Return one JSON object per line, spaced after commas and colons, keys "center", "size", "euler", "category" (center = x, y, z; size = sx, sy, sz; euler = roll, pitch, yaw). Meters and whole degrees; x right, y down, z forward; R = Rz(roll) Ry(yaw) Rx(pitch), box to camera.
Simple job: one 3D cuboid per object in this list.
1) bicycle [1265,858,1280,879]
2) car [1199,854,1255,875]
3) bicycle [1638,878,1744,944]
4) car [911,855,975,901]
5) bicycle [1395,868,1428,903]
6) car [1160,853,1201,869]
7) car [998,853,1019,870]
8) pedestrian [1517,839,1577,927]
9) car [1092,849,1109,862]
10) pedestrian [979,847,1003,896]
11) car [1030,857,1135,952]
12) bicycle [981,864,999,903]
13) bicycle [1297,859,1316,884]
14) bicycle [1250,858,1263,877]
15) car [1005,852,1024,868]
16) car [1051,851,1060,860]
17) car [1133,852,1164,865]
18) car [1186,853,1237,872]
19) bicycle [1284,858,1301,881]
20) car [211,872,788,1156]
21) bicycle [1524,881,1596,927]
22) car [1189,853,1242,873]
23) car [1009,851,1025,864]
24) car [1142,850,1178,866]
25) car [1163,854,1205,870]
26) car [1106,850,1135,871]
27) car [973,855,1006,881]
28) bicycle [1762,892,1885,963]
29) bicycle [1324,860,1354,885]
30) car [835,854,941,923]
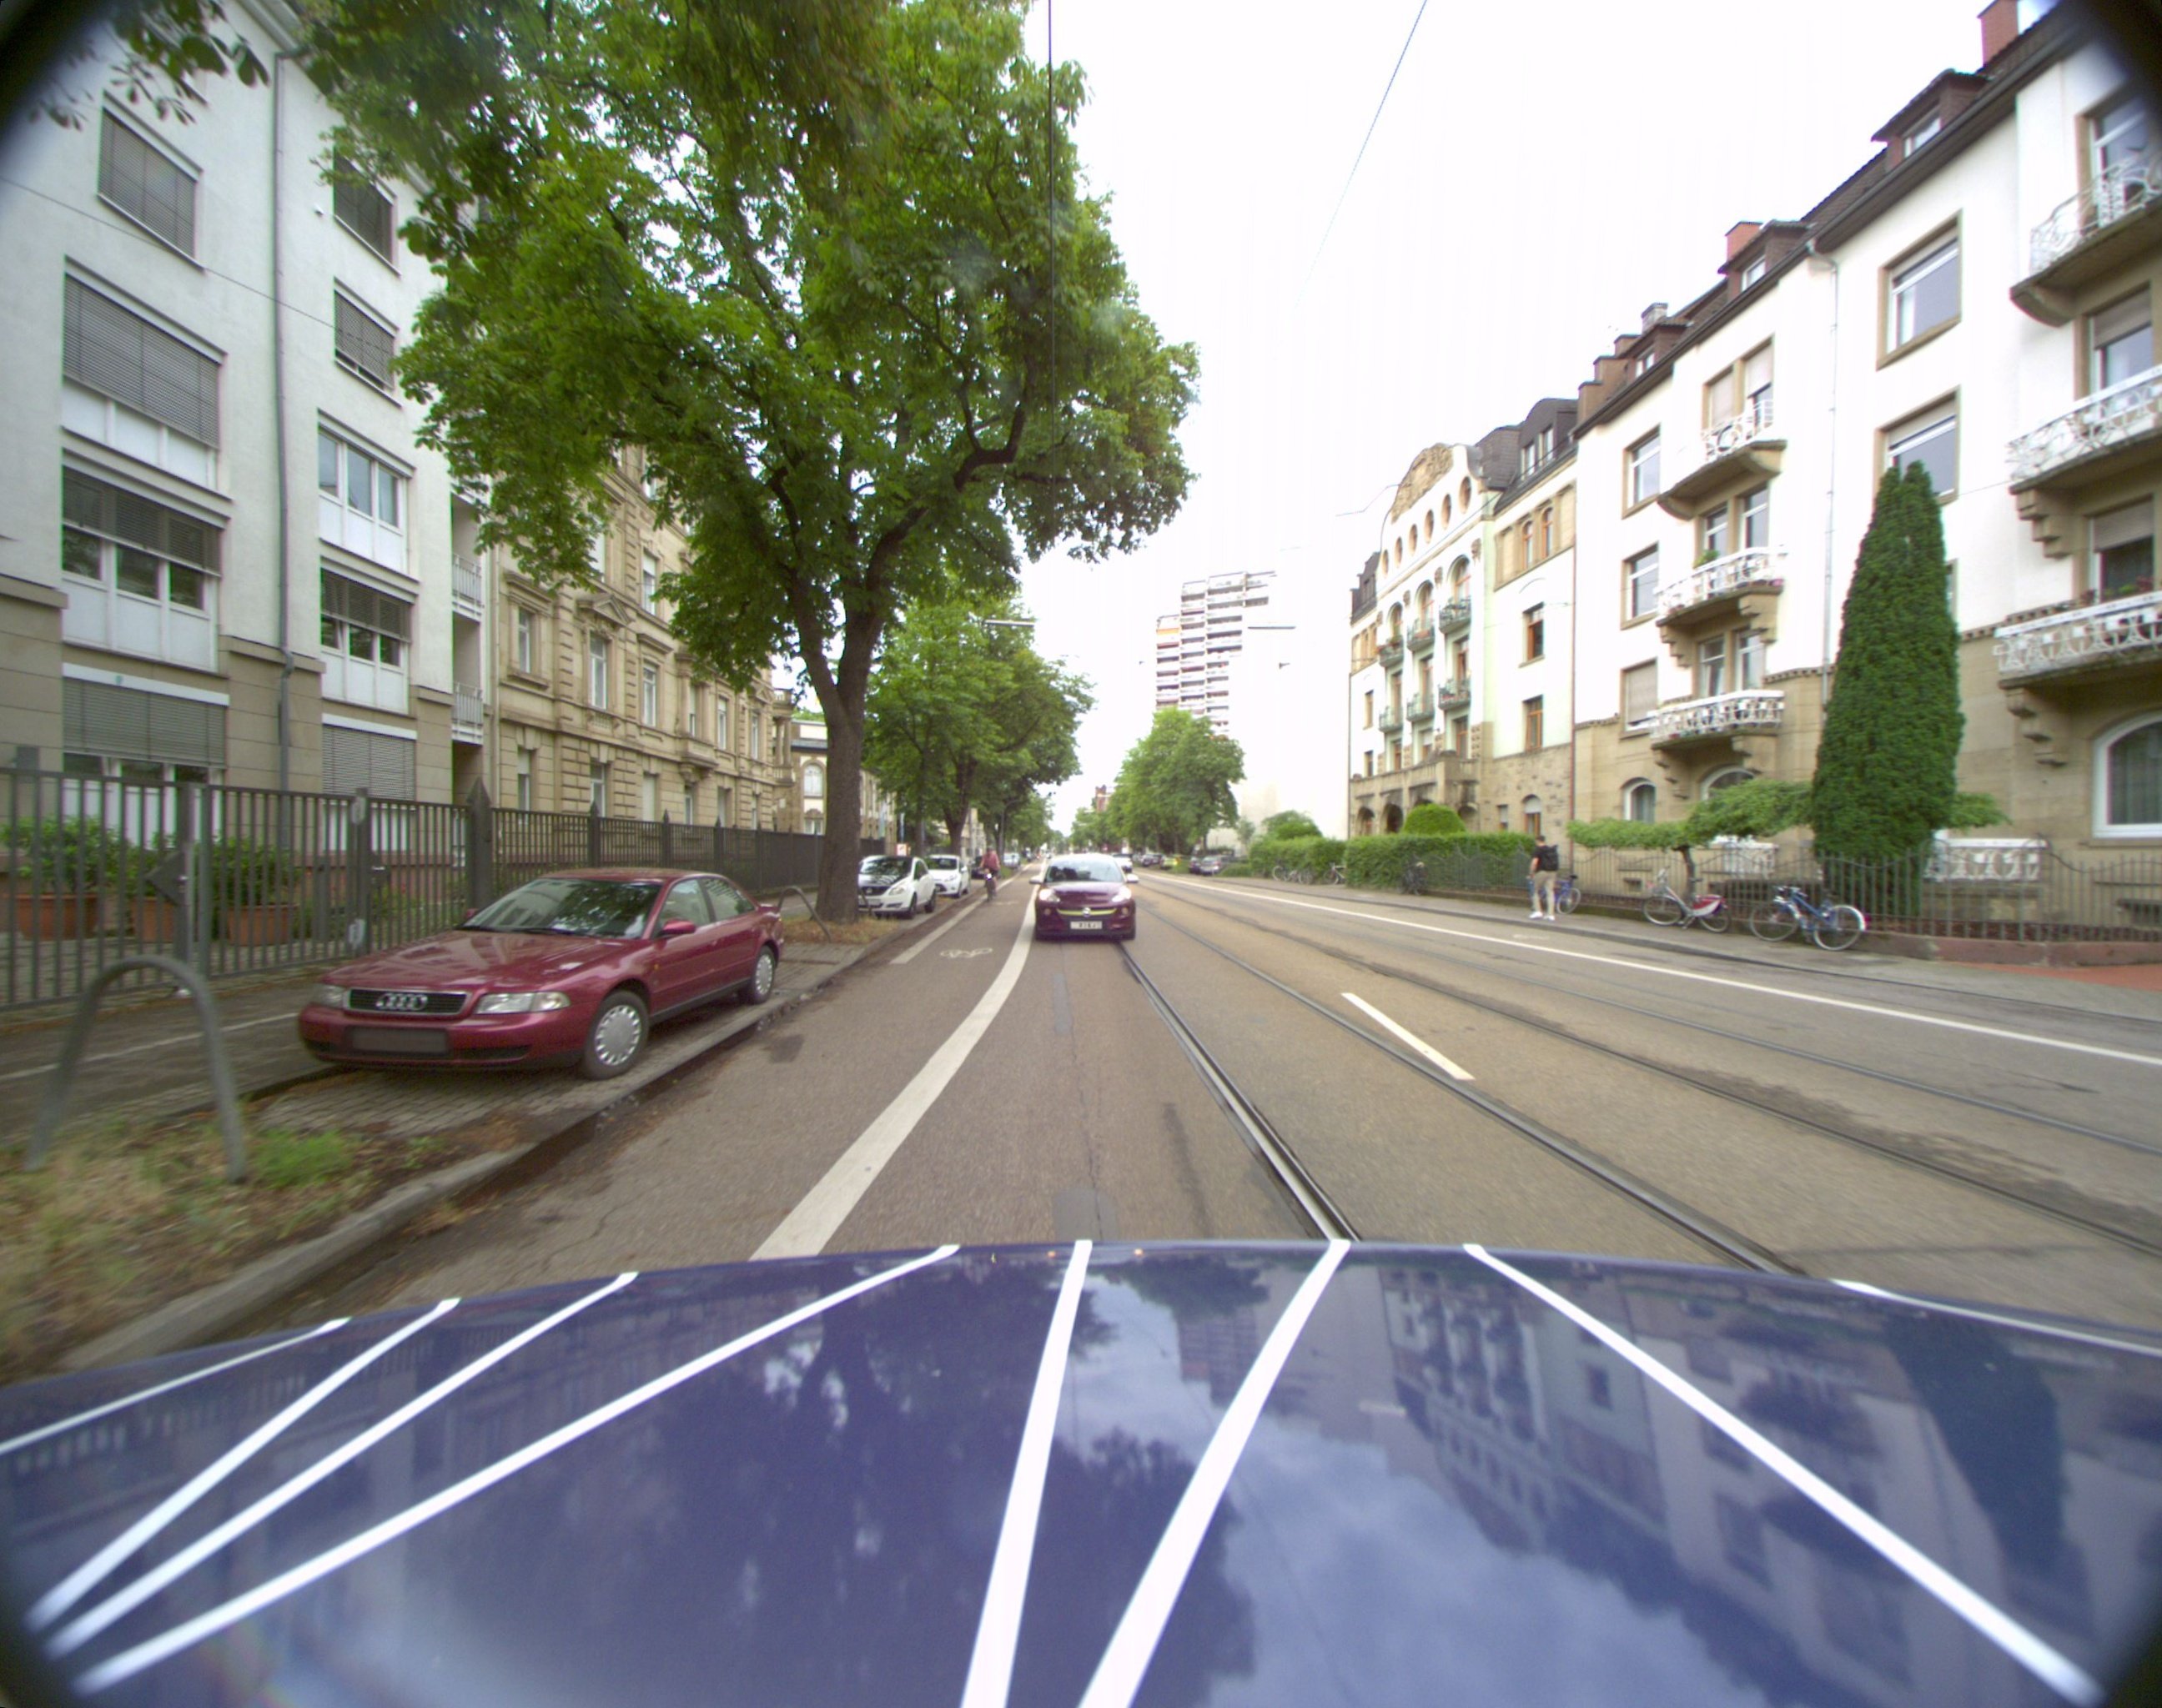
{"center": [10.266, 0.750, 40.707], "size": [0.360, 1.077, 1.546], "euler": [1, 1, -2], "category": "bicycle"}
{"center": [10.083, 0.694, 52.417], "size": [4.008, 1.395, 1.690], "euler": [0, 1, -42], "category": "car"}
{"center": [11.247, 1.023, 14.074], "size": [0.386, 1.095, 1.623], "euler": [0, 1, -13], "category": "bicycle"}
{"center": [-4.776, 0.783, 26.750], "size": [1.632, 1.427, 3.763], "euler": [2, 0, -2], "category": "car"}
{"center": [10.877, 1.012, 25.047], "size": [0.360, 1.077, 1.546], "euler": [1, 1, -2], "category": "bicycle"}
{"center": [9.395, 0.621, 71.623], "size": [1.690, 1.434, 4.009], "euler": [1, 1, 45], "category": "car"}
{"center": [-6.421, 0.628, 67.722], "size": [1.606, 1.362, 3.836], "euler": [2, 0, -2], "category": "car"}
{"center": [9.981, 0.601, 16.299], "size": [0.670, 1.833, 0.882], "euler": [1, 1, -3], "category": "pedestrian"}
{"center": [2.304, 0.150, 89.190], "size": [1.613, 1.414, 3.484], "euler": [1, 0, -5], "category": "car"}
{"center": [-2.908, 0.553, 24.582], "size": [0.684, 1.541, 0.704], "euler": [0, 1, -2], "category": "pedestrian"}
{"center": [-0.013, 0.794, 13.775], "size": [1.606, 1.427, 3.776], "euler": [-1, 0, -1], "category": "car"}
{"center": [-2.932, 0.936, 24.601], "size": [0.414, 1.197, 1.706], "euler": [0, 1, -2], "category": "bicycle"}
{"center": [10.443, 0.803, 35.273], "size": [0.360, 1.077, 1.546], "euler": [1, 1, -2], "category": "bicycle"}
{"center": [10.078, 0.752, 43.632], "size": [0.360, 1.077, 1.546], "euler": [1, 1, -2], "category": "bicycle"}
{"center": [-6.581, 0.598, 75.062], "size": [1.606, 1.416, 3.836], "euler": [2, 0, -2], "category": "car"}
{"center": [-6.129, 0.333, 184.206], "size": [1.998, 2.002, 3.999], "euler": [-1, 1, 0], "category": "car"}
{"center": [8.436, 0.514, 94.737], "size": [1.690, 1.611, 4.009], "euler": [1, 1, 45], "category": "car"}
{"center": [10.086, 0.627, 58.495], "size": [4.008, 1.395, 1.690], "euler": [0, 1, -42], "category": "car"}
{"center": [10.362, 0.746, 37.261], "size": [0.360, 1.077, 1.546], "euler": [1, 1, -2], "category": "bicycle"}
{"center": [-4.004, 0.941, 6.293], "size": [1.606, 1.391, 4.226], "euler": [2, 0, -2], "category": "car"}
{"center": [11.256, 1.151, 17.922], "size": [0.358, 0.924, 1.661], "euler": [20, 0, 0], "category": "bicycle"}
{"center": [9.786, 0.608, 55.239], "size": [4.008, 1.395, 1.690], "euler": [0, 1, -42], "category": "car"}
{"center": [-7.297, 0.407, 87.468], "size": [1.606, 1.362, 3.836], "euler": [2, 0, -2], "category": "car"}
{"center": [8.471, 0.414, 81.314], "size": [1.690, 1.611, 4.009], "euler": [1, 1, 45], "category": "car"}
{"center": [9.288, 0.672, 68.568], "size": [1.690, 1.387, 4.009], "euler": [1, 1, 45], "category": "car"}
{"center": [3.027, 0.476, 58.538], "size": [1.703, 1.487, 3.929], "euler": [1, 0, -4], "category": "car"}
{"center": [-5.423, 0.793, 45.296], "size": [1.606, 1.362, 3.836], "euler": [2, 0, -2], "category": "car"}
{"center": [11.348, 1.101, 11.670], "size": [0.333, 0.932, 1.515], "euler": [1, 0, -2], "category": "bicycle"}
{"center": [11.532, 0.834, 34.012], "size": [1.205, 1.077, 0.300], "euler": [-2, 1, 0], "category": "bicycle"}
{"center": [-4.530, 0.749, 18.366], "size": [1.606, 1.427, 3.776], "euler": [2, 0, -1], "category": "car"}
